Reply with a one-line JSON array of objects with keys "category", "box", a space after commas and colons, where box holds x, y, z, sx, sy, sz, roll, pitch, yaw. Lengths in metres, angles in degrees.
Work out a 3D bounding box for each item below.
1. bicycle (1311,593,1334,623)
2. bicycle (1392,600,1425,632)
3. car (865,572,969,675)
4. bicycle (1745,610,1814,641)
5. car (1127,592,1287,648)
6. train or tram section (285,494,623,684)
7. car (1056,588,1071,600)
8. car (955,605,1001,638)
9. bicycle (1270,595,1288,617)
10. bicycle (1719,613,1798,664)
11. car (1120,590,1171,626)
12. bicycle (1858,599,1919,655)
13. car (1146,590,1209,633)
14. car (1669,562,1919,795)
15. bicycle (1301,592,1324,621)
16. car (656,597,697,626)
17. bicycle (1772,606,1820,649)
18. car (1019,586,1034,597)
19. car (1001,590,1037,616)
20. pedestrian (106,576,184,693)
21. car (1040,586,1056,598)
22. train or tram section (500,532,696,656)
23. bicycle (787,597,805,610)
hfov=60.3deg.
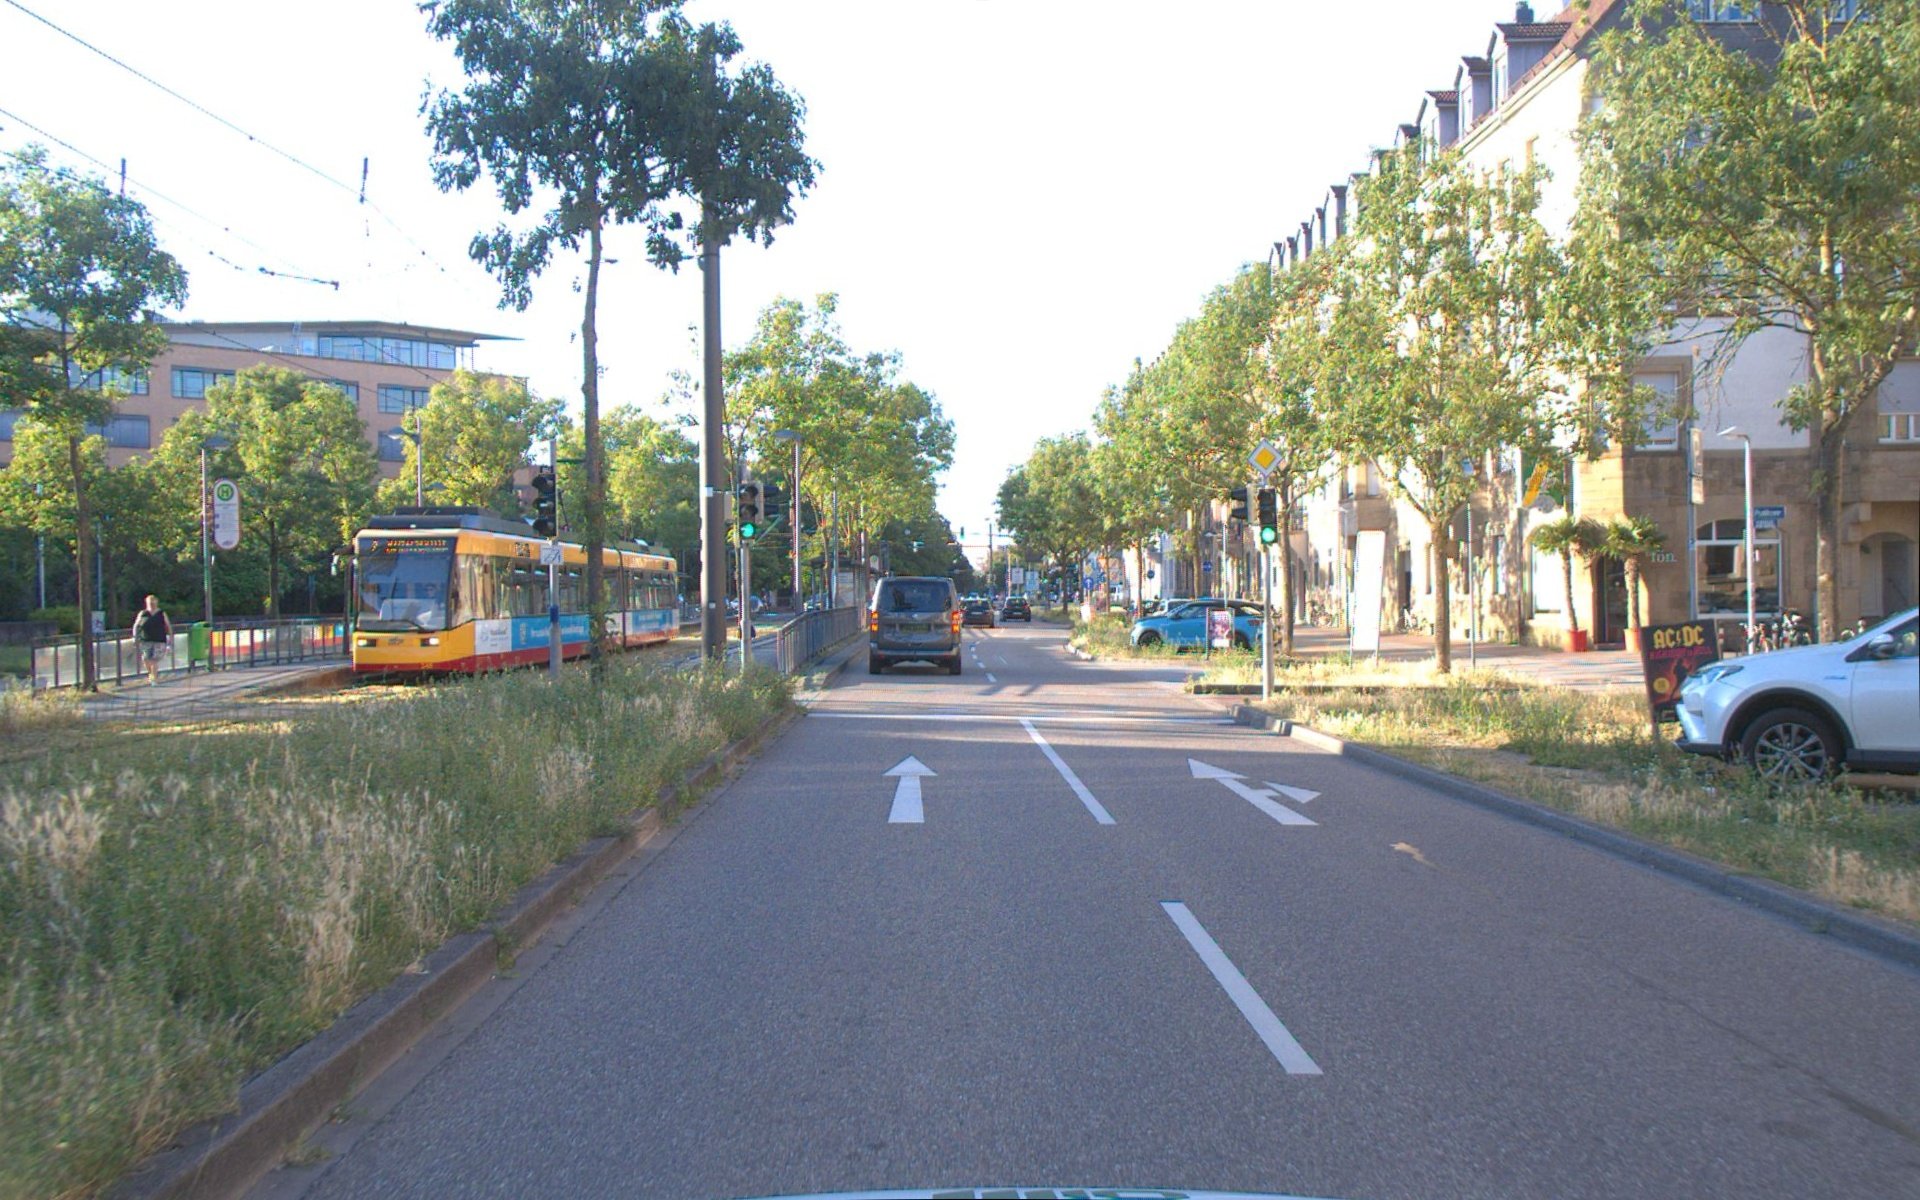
[{"category": "bicycle", "box": [15.297, 0.317, 69.809, 0.473, 1.185, 1.746, -6, 0, -1]}, {"category": "bicycle", "box": [15.585, 0.549, 57.521, 0.560, 1.092, 1.896, -2, 0, -1]}, {"category": "car", "box": [-0.837, 0.437, 33.745, 1.953, 1.934, 4.298, 1, 0, 0]}, {"category": "bicycle", "box": [20.897, 0.639, 42.198, 1.510, 0.748, 0.531, -1, 1, -1]}, {"category": "car", "box": [7.070, 0.551, 47.443, 4.196, 1.548, 1.843, 0, 0, 32]}, {"category": "train or tram section", "box": [-10.938, -0.222, 38.247, 3.361, 3.490, 15.024, -1, 0, -1]}, {"category": "car", "box": [15.712, -0.924, 251.734, 1.952, 1.685, 4.299, -1, 0, 1]}, {"category": "car", "box": [0.866, 1.035, 81.378, 1.954, 1.537, 3.997, 0, 0, -4]}, {"category": "bicycle", "box": [15.120, 0.297, 78.329, 0.473, 1.023, 1.746, -1, 0, -1]}, {"category": "bicycle", "box": [15.034, 0.716, 31.190, 0.451, 0.887, 1.884, -6, -1, -1]}, {"category": "car", "box": [8.108, 0.348, 72.557, 1.669, 1.474, 4.288, 2, 0, 0]}, {"category": "bicycle", "box": [19.452, 0.528, 33.395, 2.282, 1.068, 0.730, -1, 0, -5]}, {"category": "car", "box": [8.251, 0.419, 63.095, 1.691, 1.538, 4.271, 2, 0, -1]}, {"category": "car", "box": [7.987, 0.567, 12.774, 4.341, 1.721, 1.910, 0, 0, 34]}, {"category": "bicycle", "box": [15.274, 0.259, 71.712, 0.473, 1.185, 1.746, -6, 0, -1]}, {"category": "car", "box": [-17.053, 0.674, 99.532, 1.821, 1.683, 3.999, -1, 0, -1]}, {"category": "bicycle", "box": [20.090, 0.645, 39.783, 0.615, 0.964, 1.886, 0, 1, 14]}, {"category": "car", "box": [10.197, -1.303, 253.630, 1.954, 1.685, 4.296, -1, 0, -3]}, {"category": "car", "box": [3.514, 0.169, 99.757, 1.953, 1.537, 3.999, 0, 0, -1]}, {"category": "pedestrian", "box": [-14.626, 0.615, 29.709, 0.915, 2.049, 0.957, -1, 0, -1]}, {"category": "car", "box": [13.252, -1.170, 249.096, 1.954, 1.685, 4.296, -1, 0, -3]}, {"category": "train or tram section", "box": [-11.144, -0.178, 52.754, 3.361, 3.398, 13.855, -1, 0, -1]}, {"category": "bicycle", "box": [-15.789, 0.334, 158.901, 1.708, 1.162, 0.550, -1, 0, -43]}]
